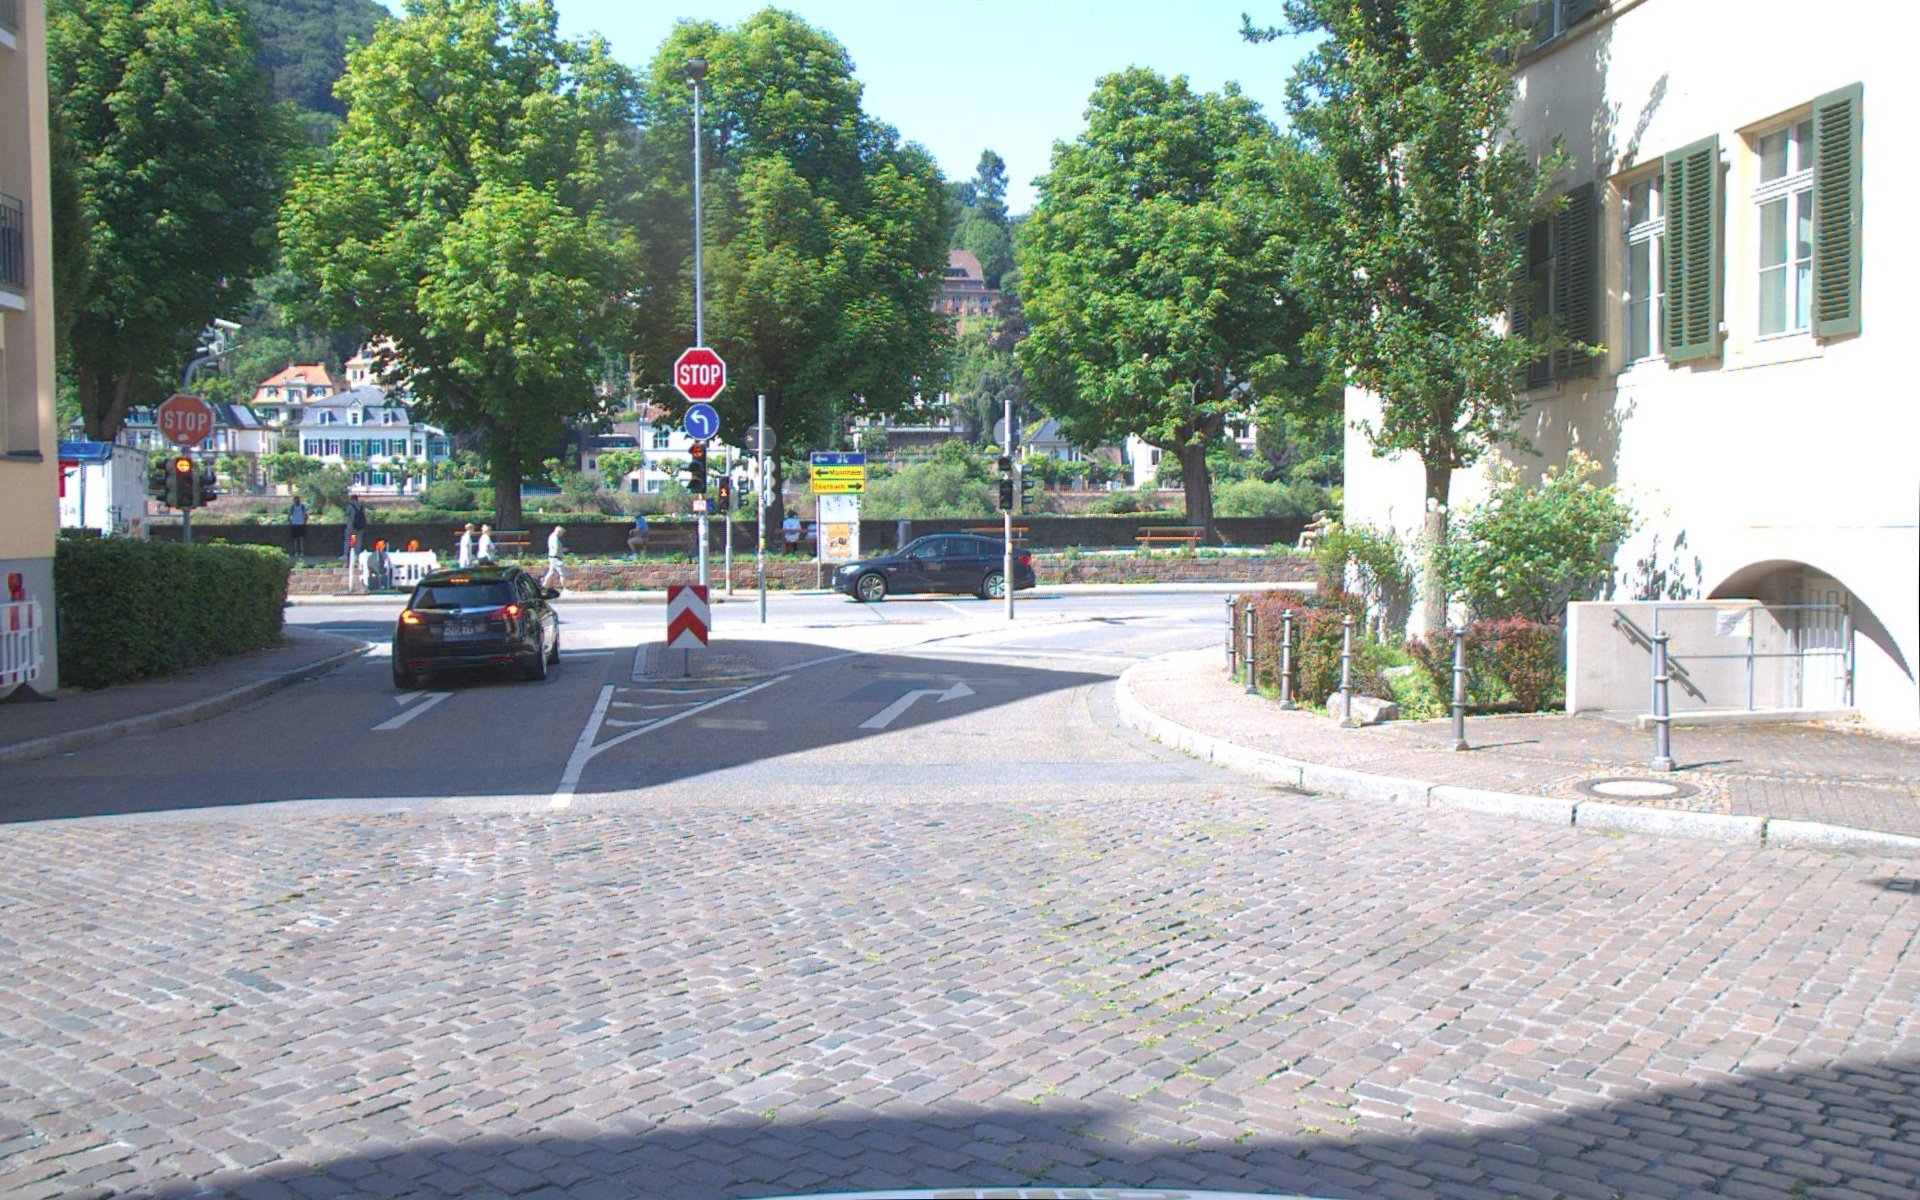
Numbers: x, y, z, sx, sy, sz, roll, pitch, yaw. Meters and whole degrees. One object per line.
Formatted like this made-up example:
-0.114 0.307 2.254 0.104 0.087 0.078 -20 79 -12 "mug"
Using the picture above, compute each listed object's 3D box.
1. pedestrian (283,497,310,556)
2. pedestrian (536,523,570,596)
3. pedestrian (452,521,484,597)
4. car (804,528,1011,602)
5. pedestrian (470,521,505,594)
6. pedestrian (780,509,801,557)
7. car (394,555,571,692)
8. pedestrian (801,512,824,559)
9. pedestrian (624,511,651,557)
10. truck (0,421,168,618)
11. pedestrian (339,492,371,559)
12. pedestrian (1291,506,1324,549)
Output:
-19.749 -2.182 49.223 0.697 1.762 0.752 -1 1 -20 "pedestrian"
-10.292 -1.024 41.850 0.674 1.800 0.717 -2 1 -3 "pedestrian"
-12.108 -1.005 40.702 0.567 1.833 0.704 -2 1 -7 "pedestrian"
-1.293 -0.846 39.637 4.678 1.544 1.901 -3 1 -11 "car"
-11.979 -1.075 41.933 0.708 1.833 0.633 -2 1 -7 "pedestrian"
-4.760 -1.866 46.384 0.542 1.301 0.703 1 -1 -7 "pedestrian"
-6.245 0.215 22.080 1.683 1.487 4.714 -3 3 -10 "car"
-4.188 -1.826 46.955 0.543 1.249 0.984 1 -1 -9 "pedestrian"
-8.907 -1.817 45.680 0.632 1.249 0.411 -1 1 -22 "pedestrian"
-22.627 -1.636 35.909 9.218 4.118 2.854 -2 1 -12 "truck"
-17.218 -2.104 47.062 0.753 1.890 0.750 -1 2 -27 "pedestrian"
10.395 -2.167 49.485 0.782 1.232 0.714 1 -1 -7 "pedestrian"
